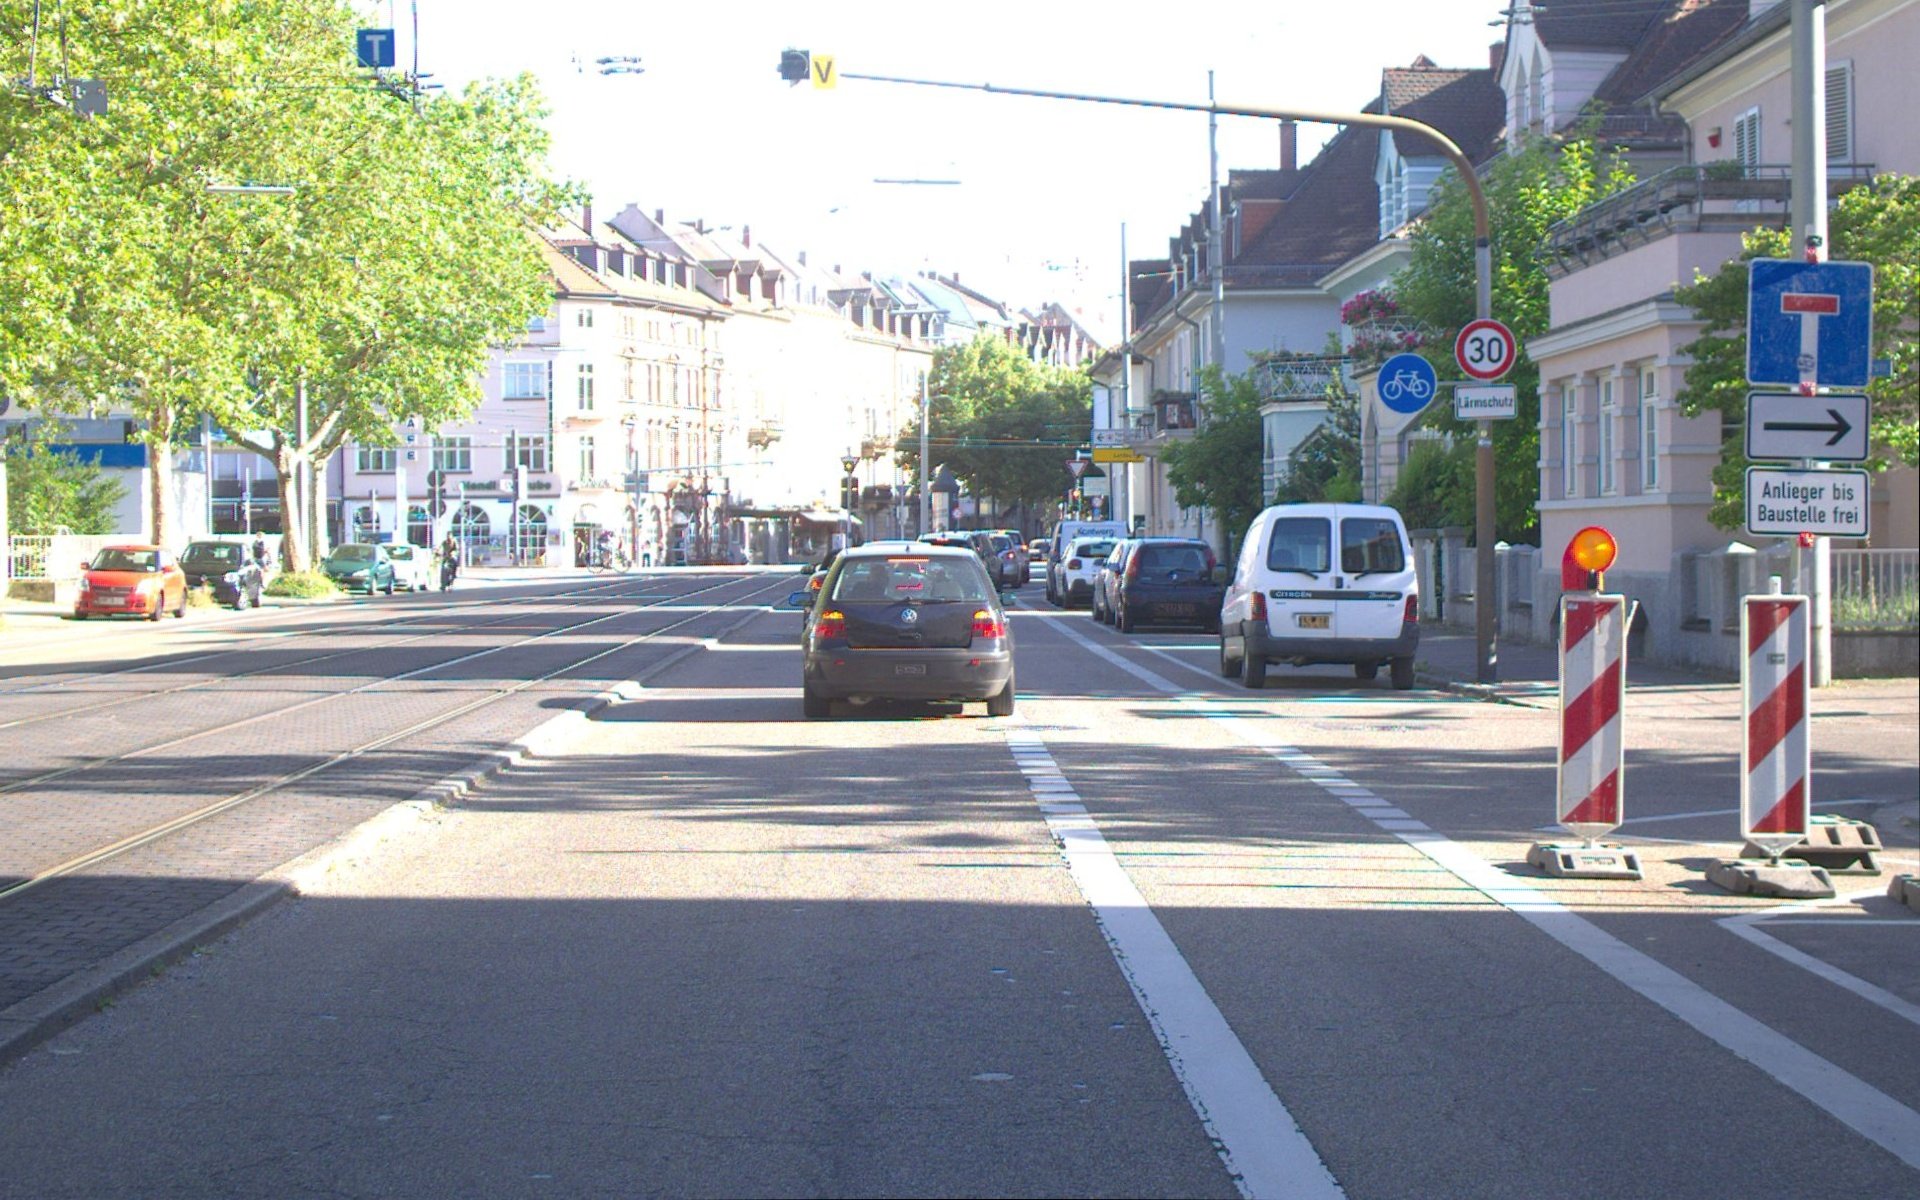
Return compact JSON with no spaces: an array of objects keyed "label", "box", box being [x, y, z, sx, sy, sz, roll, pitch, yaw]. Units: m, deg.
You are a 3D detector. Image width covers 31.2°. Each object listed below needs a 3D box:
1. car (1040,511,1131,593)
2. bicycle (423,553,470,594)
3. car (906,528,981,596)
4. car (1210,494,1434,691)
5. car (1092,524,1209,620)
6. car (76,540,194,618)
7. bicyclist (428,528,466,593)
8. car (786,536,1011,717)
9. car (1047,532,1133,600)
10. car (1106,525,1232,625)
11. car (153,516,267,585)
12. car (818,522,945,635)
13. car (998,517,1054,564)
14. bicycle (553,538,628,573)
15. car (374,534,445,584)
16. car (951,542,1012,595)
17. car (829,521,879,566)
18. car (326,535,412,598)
[{"label":"car","box":[2.781,-1.094,76.853,1.817,1.793,4.000,0,1,-1]},{"label":"bicycle","box":[-14.829,-0.772,99.363,0.914,1.079,3.203,2,2,-1]},{"label":"car","box":[-0.390,-0.870,76.786,1.636,1.467,3.730,0,1,-1]},{"label":"car","box":[3.571,-0.121,34.489,1.759,1.831,3.548,2,2,-1]},{"label":"car","box":[3.213,-0.506,58.599,1.748,1.532,3.956,0,2,0]},{"label":"car","box":[-16.618,-0.428,69.386,1.570,1.528,3.572,0,0,-1]},{"label":"bicyclist","box":[-14.814,-1.149,99.321,0.914,1.827,0.960,2,1,-1]},{"label":"car","box":[-0.558,0.168,28.896,1.748,1.370,4.001,0,2,-2]},{"label":"car","box":[2.702,-0.726,71.999,1.580,1.370,4.000,0,1,-1]},{"label":"car","box":[3.259,-0.424,54.247,1.661,1.520,4.036,0,1,-1]},{"label":"car","box":[-17.114,-1.139,78.593,1.792,1.460,3.836,3,1,-1]},{"label":"car","box":[-1.098,-0.345,49.459,1.748,1.532,3.892,0,2,0]},{"label":"car","box":[2.078,-1.897,109.138,1.636,1.467,3.730,0,1,-1]},{"label":"bicycle","box":[-14.029,-1.685,130.455,2.742,1.258,0.706,2,1,-1]},{"label":"car","box":[-16.721,-1.253,104.529,1.636,1.467,3.730,0,1,-1]},{"label":"car","box":[0.603,-0.911,98.460,1.636,1.467,3.730,0,1,-1]},{"label":"car","box":[-3.578,-1.923,116.233,1.636,1.467,3.730,0,1,-1]},{"label":"car","box":[-16.847,-0.980,98.188,1.883,1.663,3.805,2,2,-2]}]
